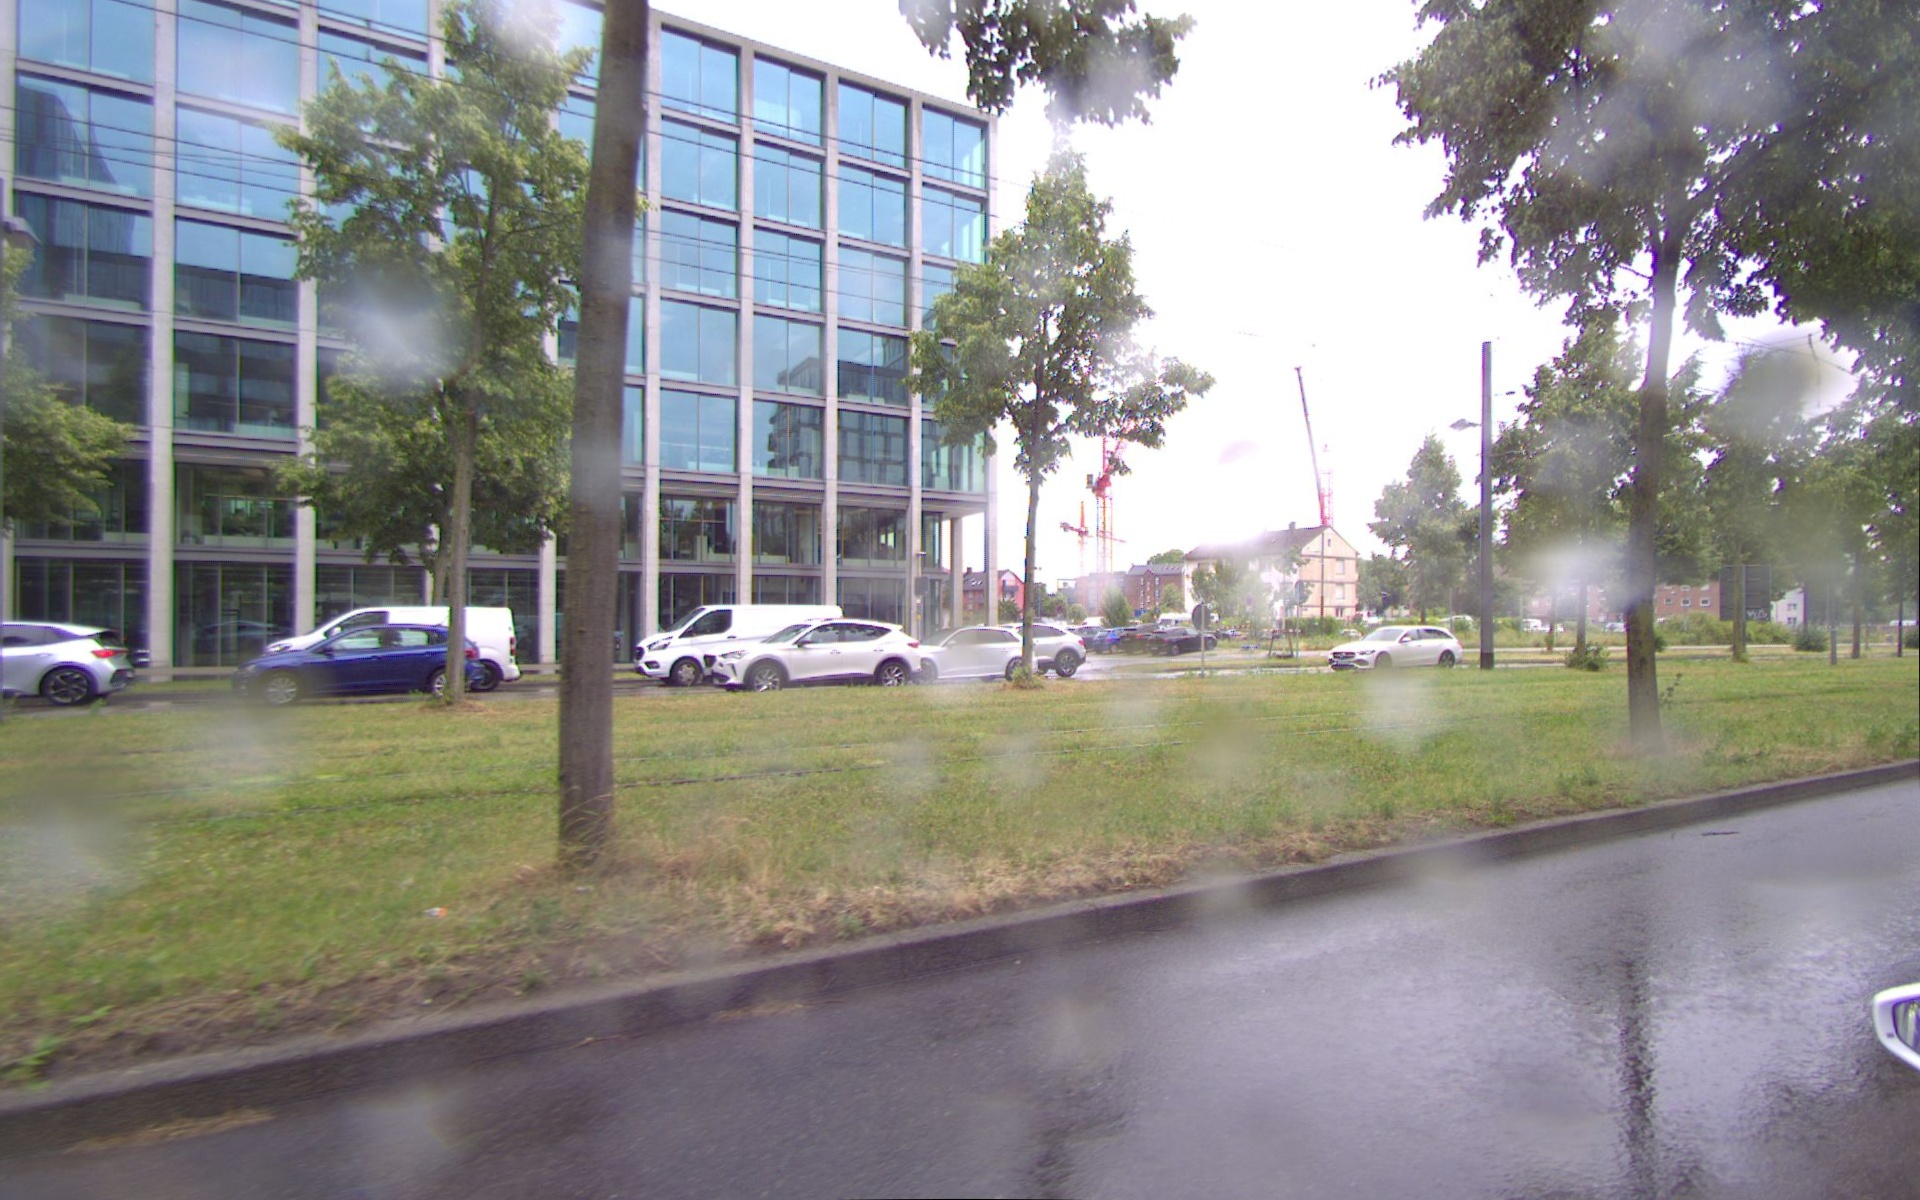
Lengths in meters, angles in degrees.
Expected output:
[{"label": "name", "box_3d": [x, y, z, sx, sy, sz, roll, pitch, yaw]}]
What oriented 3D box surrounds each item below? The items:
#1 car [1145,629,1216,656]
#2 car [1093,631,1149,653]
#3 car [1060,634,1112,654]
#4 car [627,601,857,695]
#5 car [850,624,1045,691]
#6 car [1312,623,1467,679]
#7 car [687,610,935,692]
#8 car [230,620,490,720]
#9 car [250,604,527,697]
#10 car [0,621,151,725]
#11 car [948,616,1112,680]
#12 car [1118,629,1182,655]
[{"label": "car", "box_3d": [11.943, 2.306, 54.419, 3.612, 1.256, 1.495, -2, 0, -28]}, {"label": "car", "box_3d": [9.463, 2.464, 59.098, 3.177, 1.082, 1.182, -2, 0, -27]}, {"label": "car", "box_3d": [7.749, 2.703, 61.850, 2.978, 1.087, 1.285, -2, 0, -28]}, {"label": "car", "box_3d": [-5.528, 1.144, 25.641, 5.307, 2.033, 2.258, -2, 0, -29]}, {"label": "car", "box_3d": [-0.283, 1.365, 25.066, 4.523, 1.533, 1.941, 1, -1, -31]}, {"label": "car", "box_3d": [13.752, 1.563, 32.100, 4.768, 1.480, 1.944, -2, 0, -27]}, {"label": "car", "box_3d": [-2.938, 0.948, 20.023, 4.523, 1.471, 1.941, 1, -1, -31]}, {"label": "car", "box_3d": [-11.043, 1.213, 18.689, 3.918, 1.514, 1.940, -2, 0, -33]}, {"label": "car", "box_3d": [-12.222, 1.009, 21.738, 4.974, 1.674, 1.940, -2, 0, -33]}, {"label": "car", "box_3d": [-17.923, 1.362, 18.380, 4.582, 1.769, 1.940, -2, 0, -33]}, {"label": "car", "box_3d": [2.079, 1.357, 29.653, 4.518, 1.772, 1.943, 1, -1, -28]}, {"label": "car", "box_3d": [10.737, 2.346, 56.842, 3.438, 1.256, 1.373, -2, 0, -27]}]
